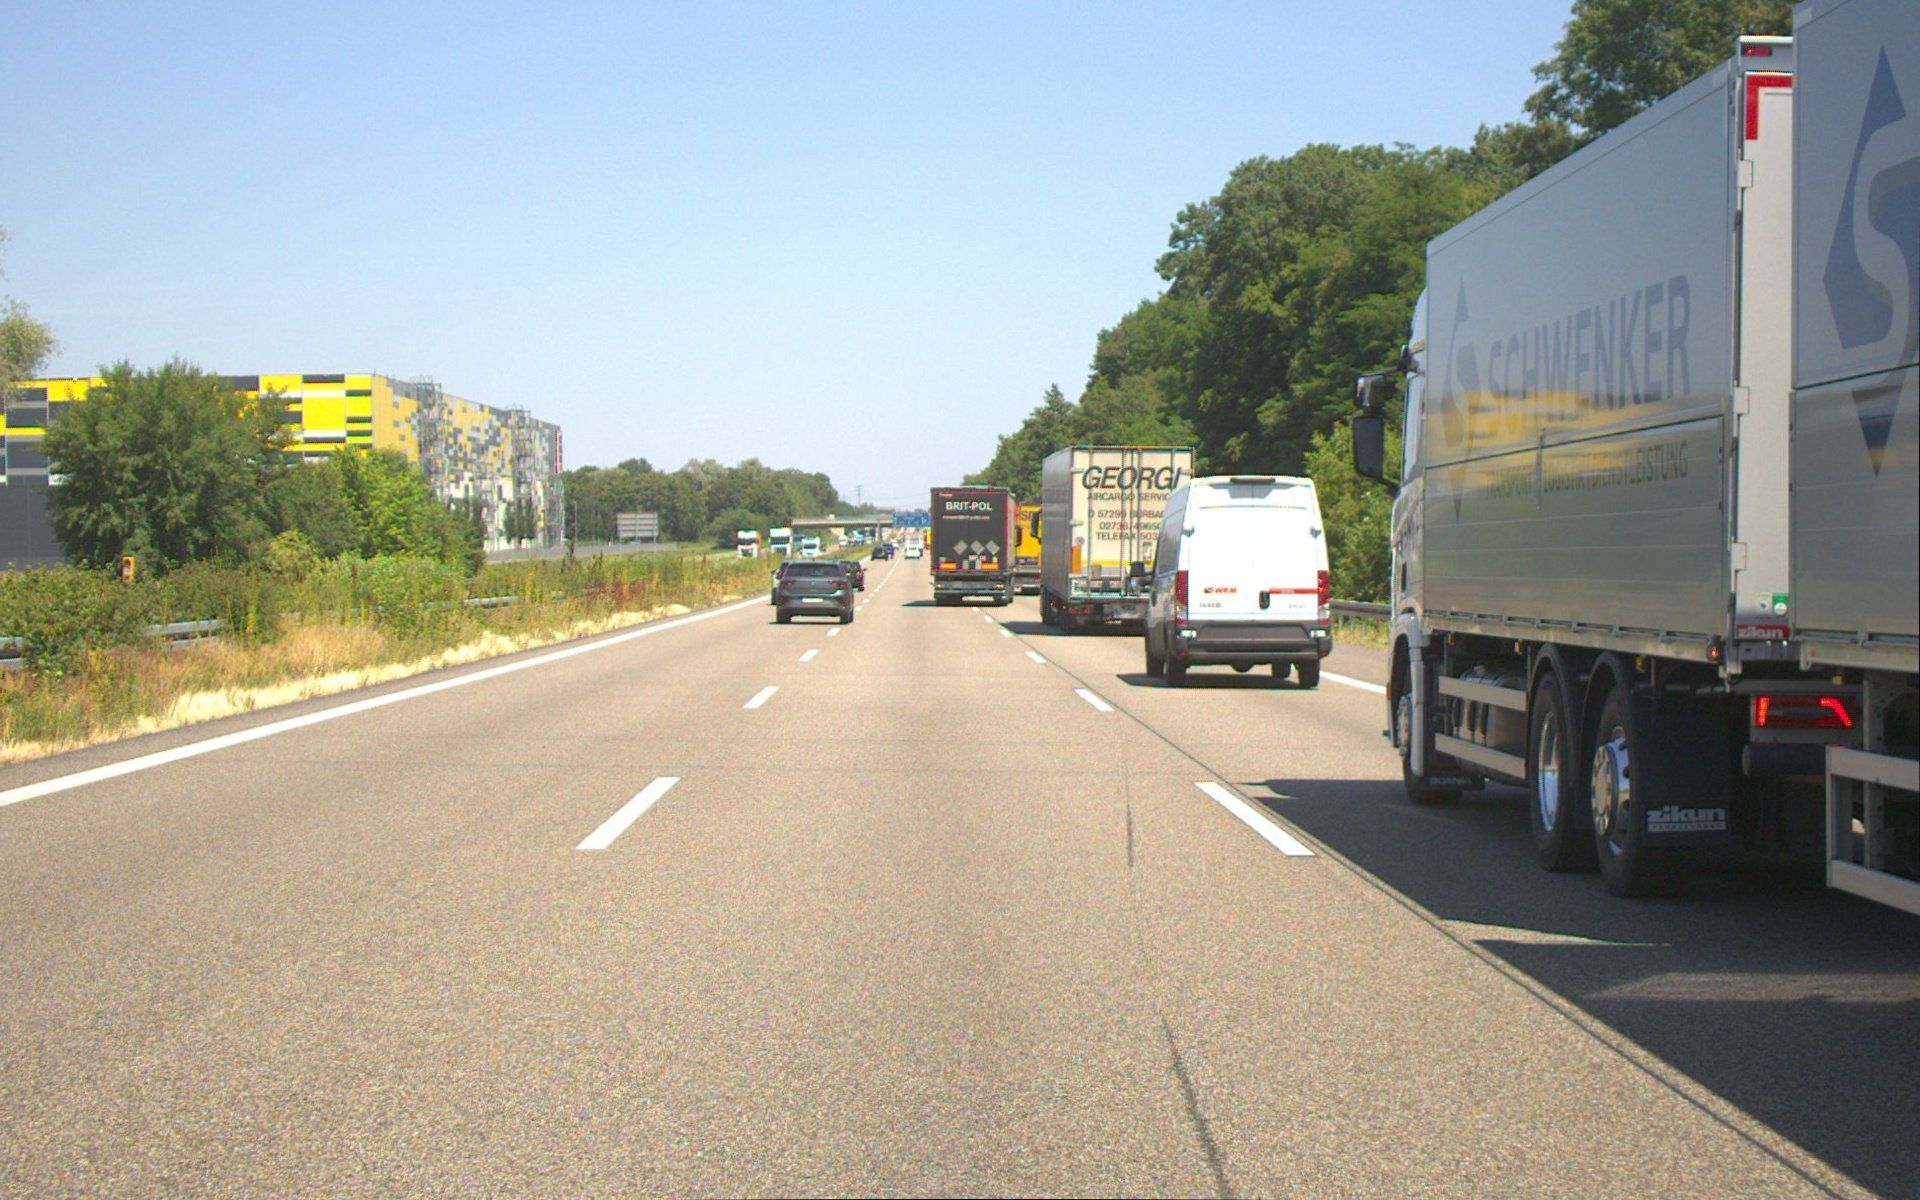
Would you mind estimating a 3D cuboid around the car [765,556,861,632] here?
[{"bbox_3d":[-3.574,-0.174,84.431,2.216,1.784,5.394,0,1,-1],"label":"car"}]

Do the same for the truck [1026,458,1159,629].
[{"bbox_3d":[3.267,-1.386,85.797,3.002,4.110,5.253,1,0,-1],"label":"truck"}]

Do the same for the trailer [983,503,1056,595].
[{"bbox_3d":[2.588,-2.299,153.138,2.834,3.940,11.685,0,1,-1],"label":"trailer"}]

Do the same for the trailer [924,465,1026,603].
[{"bbox_3d":[0.430,-2.267,121.175,3.106,4.491,14.897,1,1,-1],"label":"trailer"}]

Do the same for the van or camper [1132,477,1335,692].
[{"bbox_3d":[3.540,-0.230,45.768,2.022,2.628,6.487,1,1,-1],"label":"van or camper"}]

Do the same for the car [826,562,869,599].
[{"bbox_3d":[-5.255,-0.935,161.087,1.941,1.700,4.000,0,1,-1],"label":"car"}]

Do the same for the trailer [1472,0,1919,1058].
[{"bbox_3d":[4.255,-0.589,14.450,2.920,4.027,7.317,1,0,-1],"label":"trailer"}]

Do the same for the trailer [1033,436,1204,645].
[{"bbox_3d":[3.423,-1.324,77.924,2.993,4.274,13.419,1,1,-1],"label":"trailer"}]

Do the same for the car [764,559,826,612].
[{"bbox_3d":[-5.568,-0.510,116.376,1.993,1.722,4.131,0,1,-2],"label":"car"}]

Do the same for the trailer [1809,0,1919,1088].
[{"bbox_3d":[4.390,-0.532,7.343,2.945,4.049,8.128,1,0,-1],"label":"trailer"}]

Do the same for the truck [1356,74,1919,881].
[{"bbox_3d":[4.289,-0.635,20.697,2.889,4.016,6.870,1,0,0],"label":"truck"}]
